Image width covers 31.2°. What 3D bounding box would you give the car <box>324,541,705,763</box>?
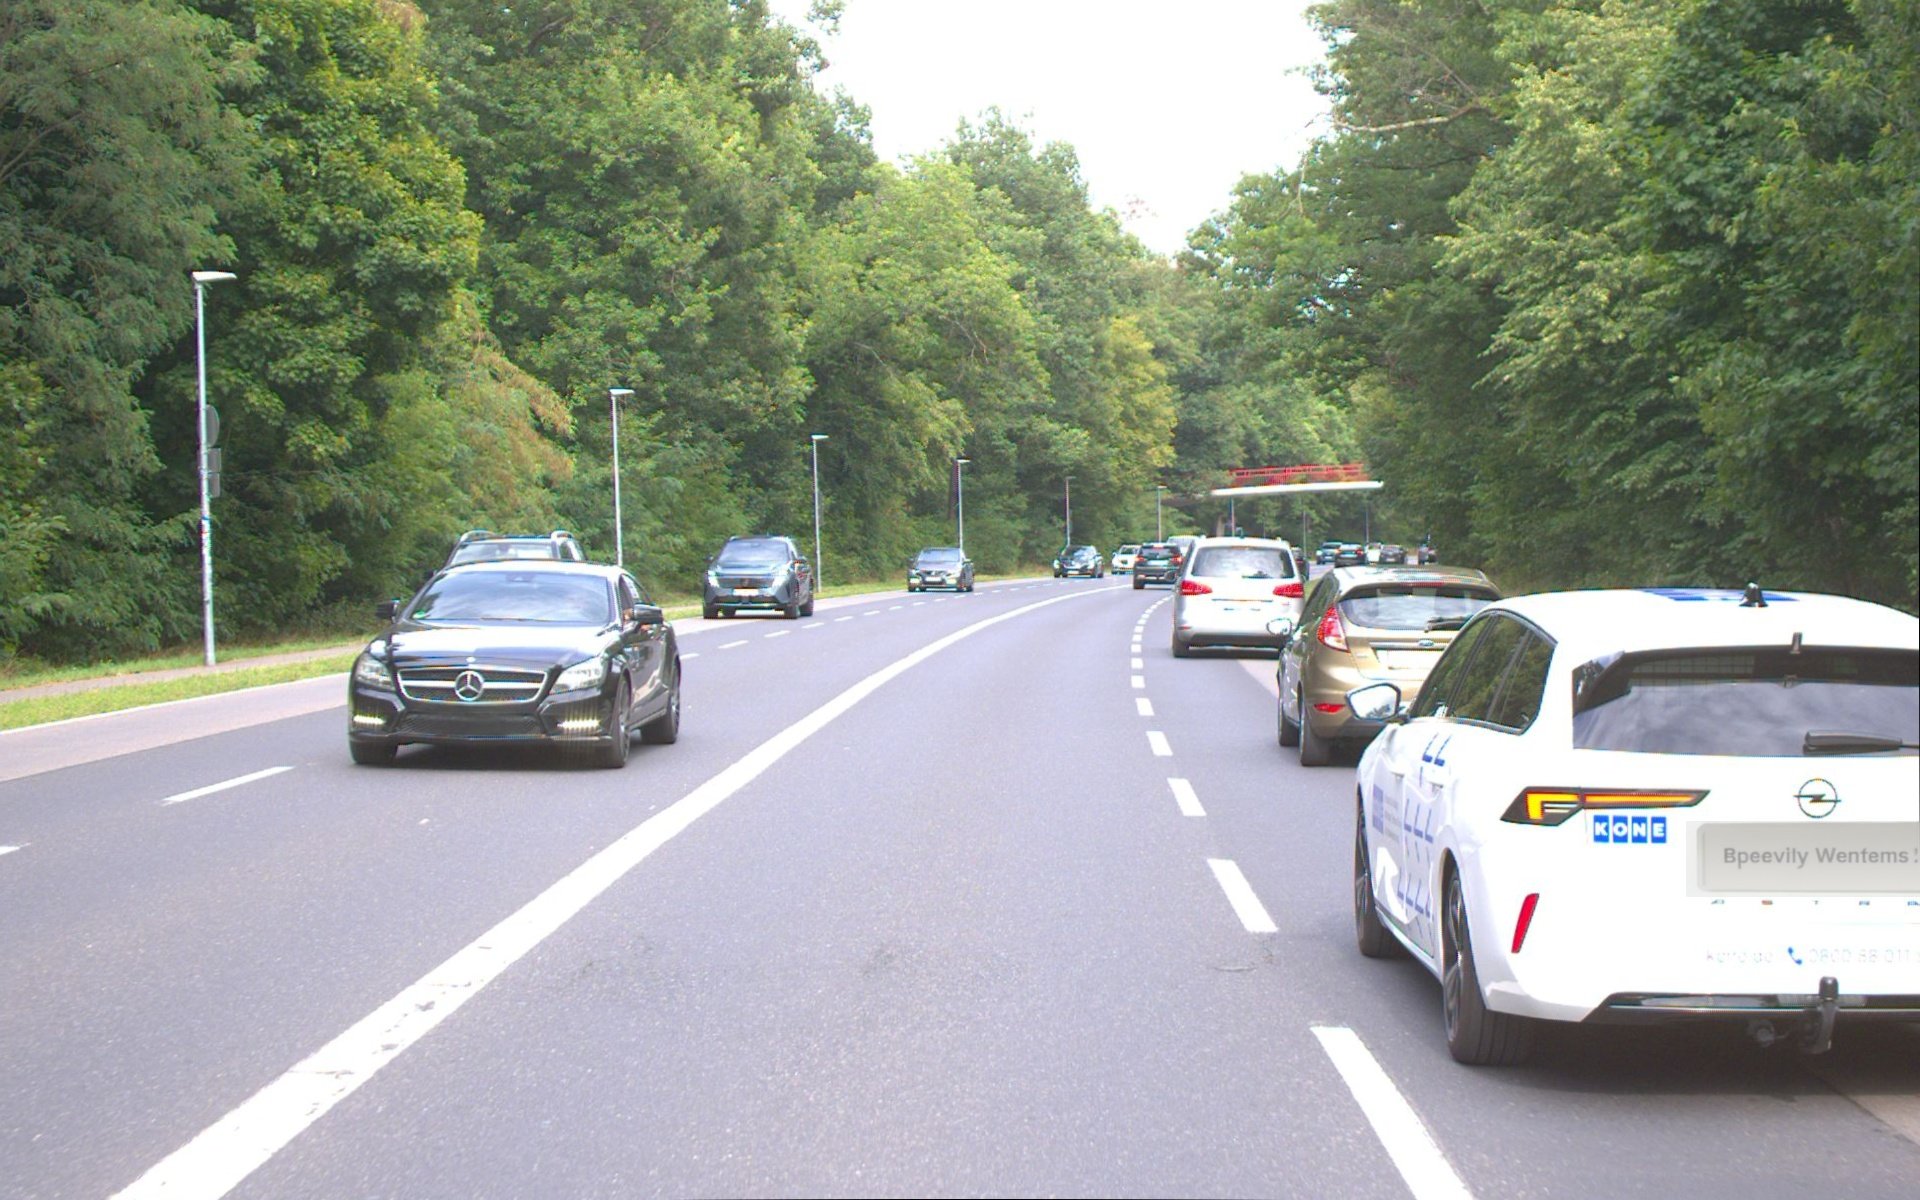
[{"bbox_3d":[-3.102,0.344,24.940,1.993,1.430,4.721,1,0,2],"label":"car"}]

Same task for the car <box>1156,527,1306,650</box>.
[{"bbox_3d":[3.840,-0.155,48.938,1.994,1.601,3.999,2,0,4],"label":"car"}]

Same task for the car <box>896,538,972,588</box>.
[{"bbox_3d":[-0.805,-1.165,109.872,1.897,1.478,4.537,2,0,6],"label":"car"}]

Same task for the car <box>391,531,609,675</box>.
[{"bbox_3d":[-5.594,0.037,42.334,1.923,1.649,4.469,1,0,2],"label":"car"}]

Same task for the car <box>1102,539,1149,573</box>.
[{"bbox_3d":[8.326,-2.214,172.797,1.994,1.558,4.602,2,0,7],"label":"car"}]

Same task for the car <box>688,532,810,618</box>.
[{"bbox_3d":[-4.271,-0.491,70.329,1.994,1.611,4.663,2,0,2],"label":"car"}]

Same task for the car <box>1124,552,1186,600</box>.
[{"bbox_3d":[6.843,-0.832,120.503,1.730,1.582,3.998,2,0,9],"label":"car"}]

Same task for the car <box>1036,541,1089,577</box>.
[{"bbox_3d":[4.566,-1.810,152.349,1.881,1.438,4.402,2,0,7],"label":"car"}]

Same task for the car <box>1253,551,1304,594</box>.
[{"bbox_3d":[14.026,-1.213,151.356,1.994,1.777,3.999,2,0,8],"label":"car"}]

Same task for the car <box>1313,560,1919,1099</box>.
[{"bbox_3d":[2.335,0.598,11.488,1.836,1.405,4.491,1,1,0],"label":"car"}]

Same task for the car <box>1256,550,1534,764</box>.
[{"bbox_3d":[3.178,0.397,25.759,1.635,1.415,4.000,2,0,2],"label":"car"}]

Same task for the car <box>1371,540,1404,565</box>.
[{"bbox_3d":[28.913,-3.204,232.319,1.994,1.700,3.998,0,1,10],"label":"car"}]

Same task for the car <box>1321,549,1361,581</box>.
[{"bbox_3d":[22.328,-2.052,201.476,1.994,1.777,3.998,2,0,11],"label":"car"}]
